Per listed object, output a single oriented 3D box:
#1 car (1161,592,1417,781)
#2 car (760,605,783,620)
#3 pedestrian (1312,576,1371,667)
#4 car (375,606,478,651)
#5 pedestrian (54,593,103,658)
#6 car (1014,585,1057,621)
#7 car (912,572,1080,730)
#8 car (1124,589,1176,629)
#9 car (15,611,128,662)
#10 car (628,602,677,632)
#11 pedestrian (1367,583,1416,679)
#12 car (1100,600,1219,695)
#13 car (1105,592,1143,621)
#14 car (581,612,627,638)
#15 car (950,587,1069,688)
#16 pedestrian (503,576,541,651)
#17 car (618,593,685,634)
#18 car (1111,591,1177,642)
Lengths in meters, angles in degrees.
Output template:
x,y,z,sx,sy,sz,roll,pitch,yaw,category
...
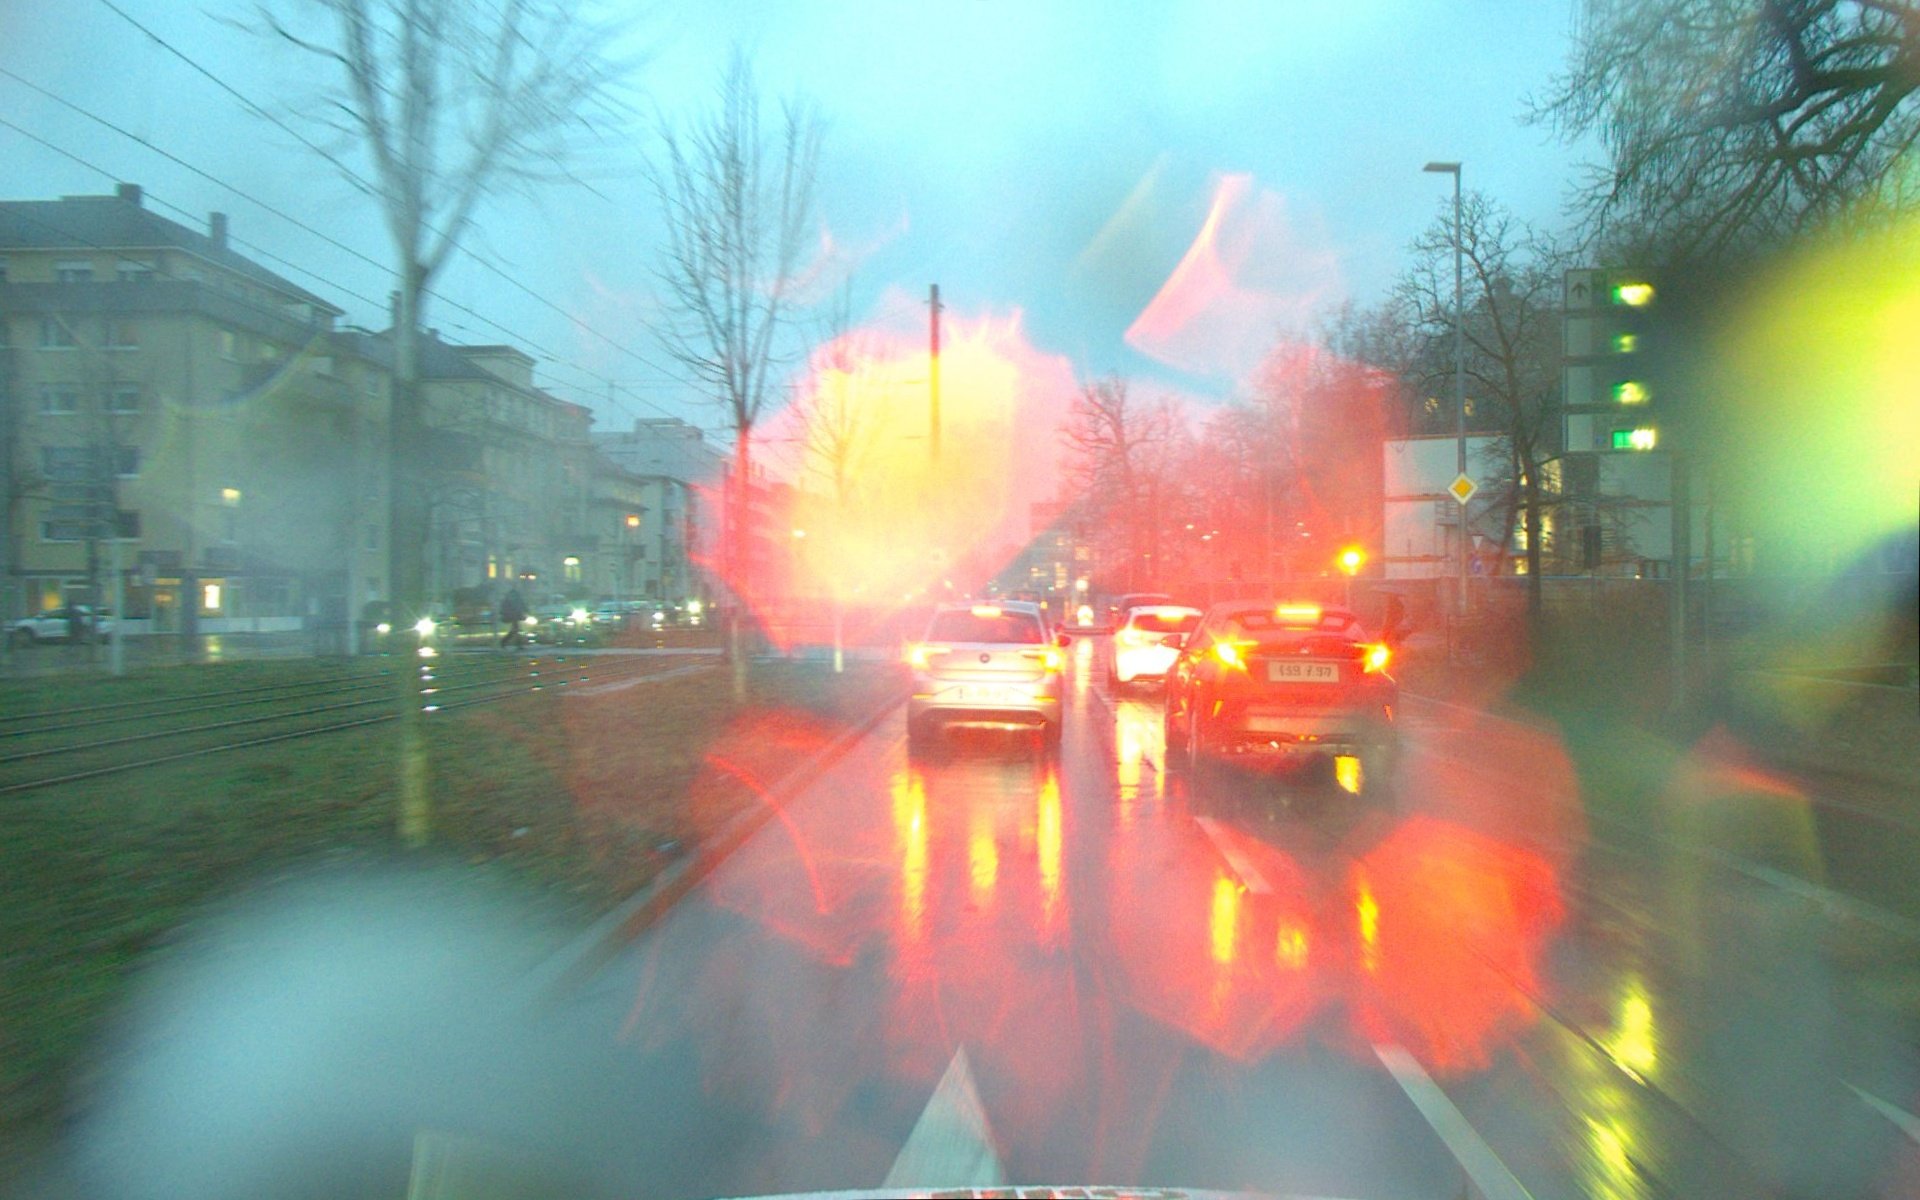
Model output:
x,y,z,sx,sy,sz,roll,pitch,yaw,category
2.926,0.714,15.466,1.762,1.537,3.896,0,0,2,car
-21.195,1.438,185.738,1.909,1.630,4.001,2,0,2,car
8.791,0.482,38.124,0.945,2.049,1.002,0,0,-20,pedestrian
-17.545,0.918,54.593,1.820,1.355,4.316,2,0,2,car
-28.195,0.796,52.912,1.251,2.049,1.001,0,0,-22,pedestrian
3.100,0.114,67.927,1.701,1.444,4.395,-1,0,2,car
0.370,0.508,18.619,1.658,1.560,4.000,1,0,0,car
7.257,0.328,63.498,1.701,1.444,3.704,-1,0,2,car
-37.152,1.518,69.229,3.675,1.976,1.840,2,0,-6,car
-16.983,0.913,91.531,1.828,1.605,4.001,0,0,2,car
9.321,0.665,35.755,0.938,2.049,1.008,0,0,11,pedestrian
3.319,0.772,28.145,1.709,1.458,3.732,2,0,3,car
8.457,0.337,85.455,1.701,1.444,4.147,-1,0,2,car
-18.070,1.259,84.066,1.657,1.300,4.145,0,0,-4,car
0.826,0.555,26.914,1.761,1.492,4.587,-1,0,2,car
-12.165,0.375,45.951,0.987,2.049,0.958,0,0,-14,pedestrian
-12.982,0.561,69.788,1.952,1.630,4.000,2,0,1,car
5.451,0.476,49.390,1.701,1.444,3.704,-1,0,2,car
